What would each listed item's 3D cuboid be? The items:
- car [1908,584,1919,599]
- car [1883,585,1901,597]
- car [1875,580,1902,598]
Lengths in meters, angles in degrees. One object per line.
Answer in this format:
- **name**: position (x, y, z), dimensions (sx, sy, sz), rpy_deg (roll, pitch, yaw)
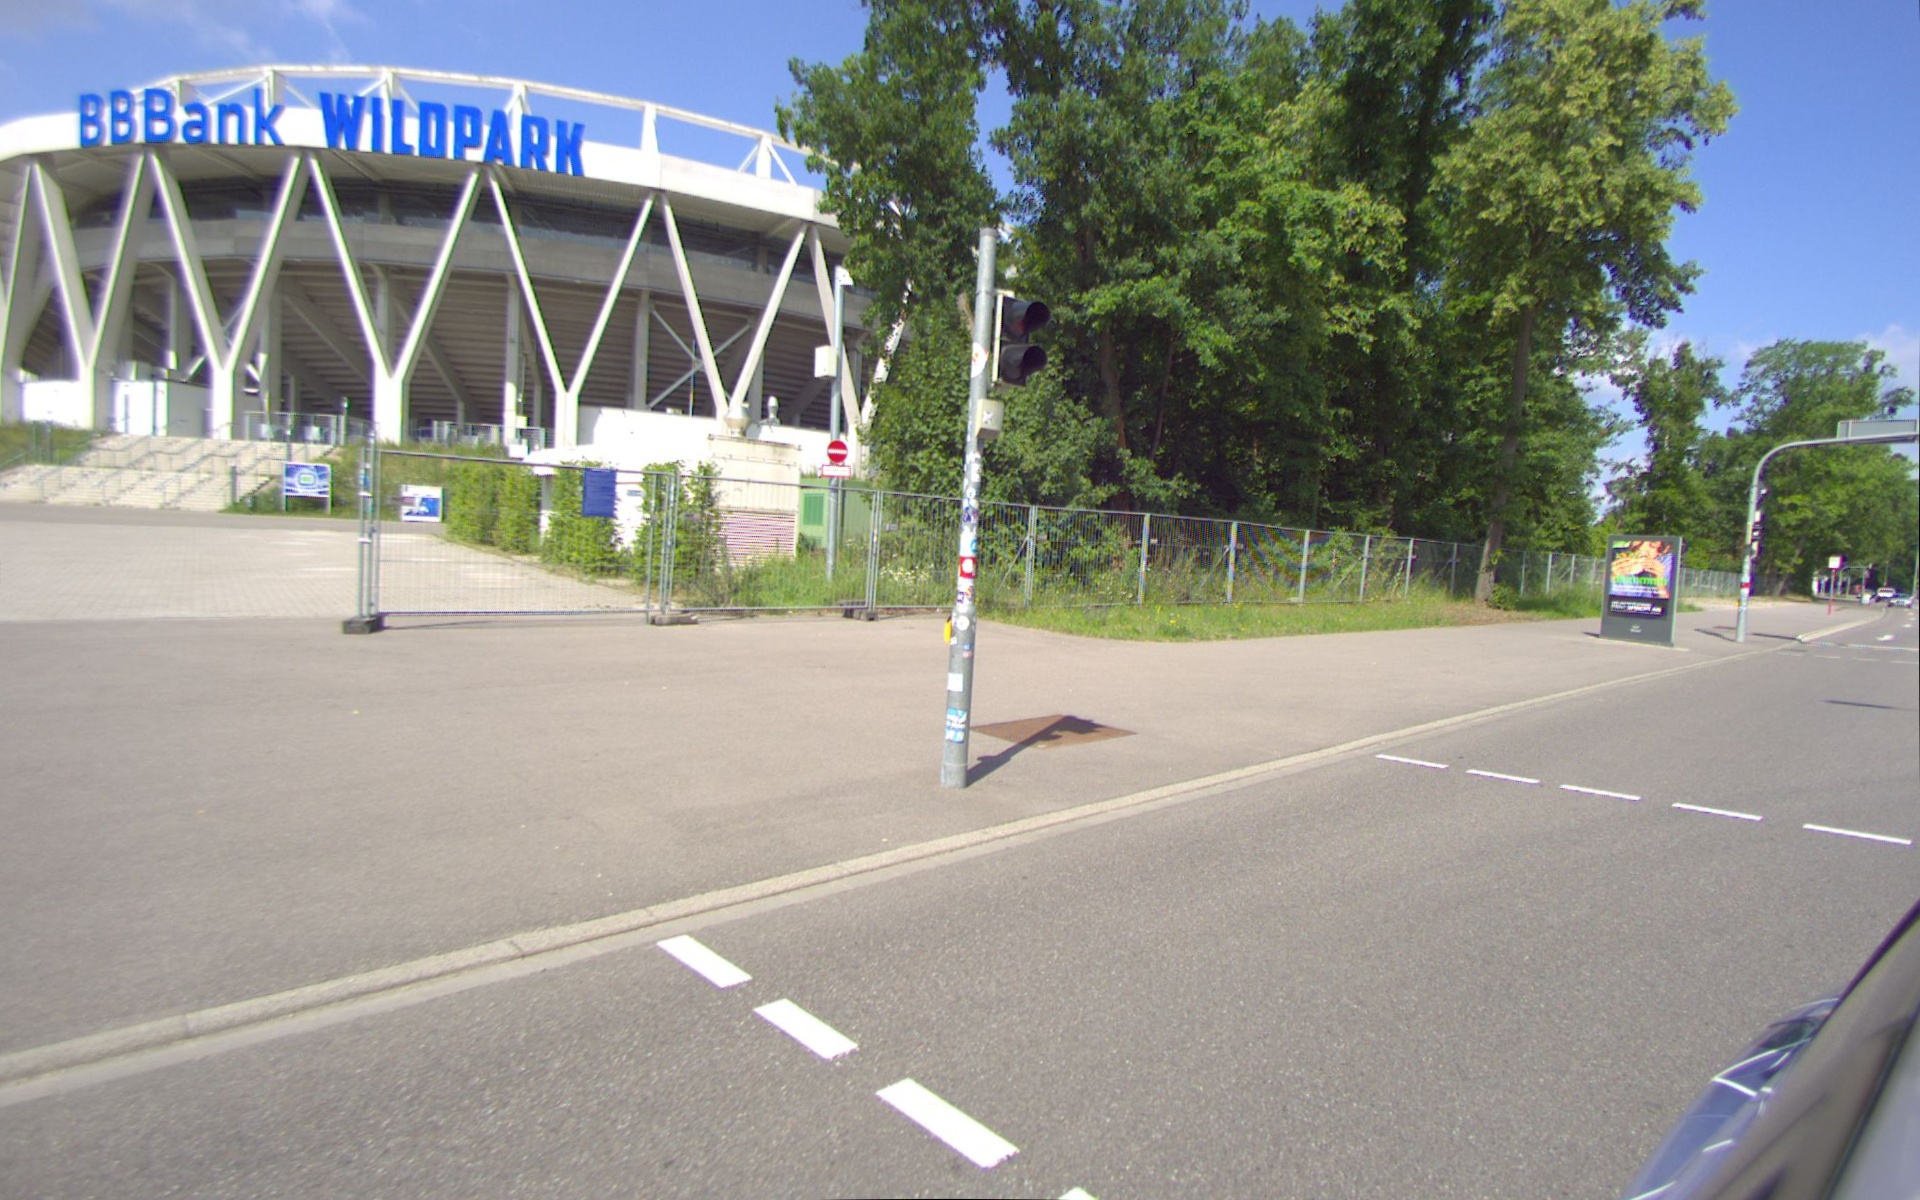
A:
- **car**: position (99.611, -0.842, 105.018), dimensions (1.575, 1.497, 3.517), rpy_deg (4, 4, 41)
- **car**: position (124.047, -1.156, 134.711), dimensions (1.576, 1.497, 3.514), rpy_deg (4, 4, 44)
- **car**: position (80.657, -0.958, 87.902), dimensions (1.576, 1.497, 3.514), rpy_deg (4, 4, 44)
